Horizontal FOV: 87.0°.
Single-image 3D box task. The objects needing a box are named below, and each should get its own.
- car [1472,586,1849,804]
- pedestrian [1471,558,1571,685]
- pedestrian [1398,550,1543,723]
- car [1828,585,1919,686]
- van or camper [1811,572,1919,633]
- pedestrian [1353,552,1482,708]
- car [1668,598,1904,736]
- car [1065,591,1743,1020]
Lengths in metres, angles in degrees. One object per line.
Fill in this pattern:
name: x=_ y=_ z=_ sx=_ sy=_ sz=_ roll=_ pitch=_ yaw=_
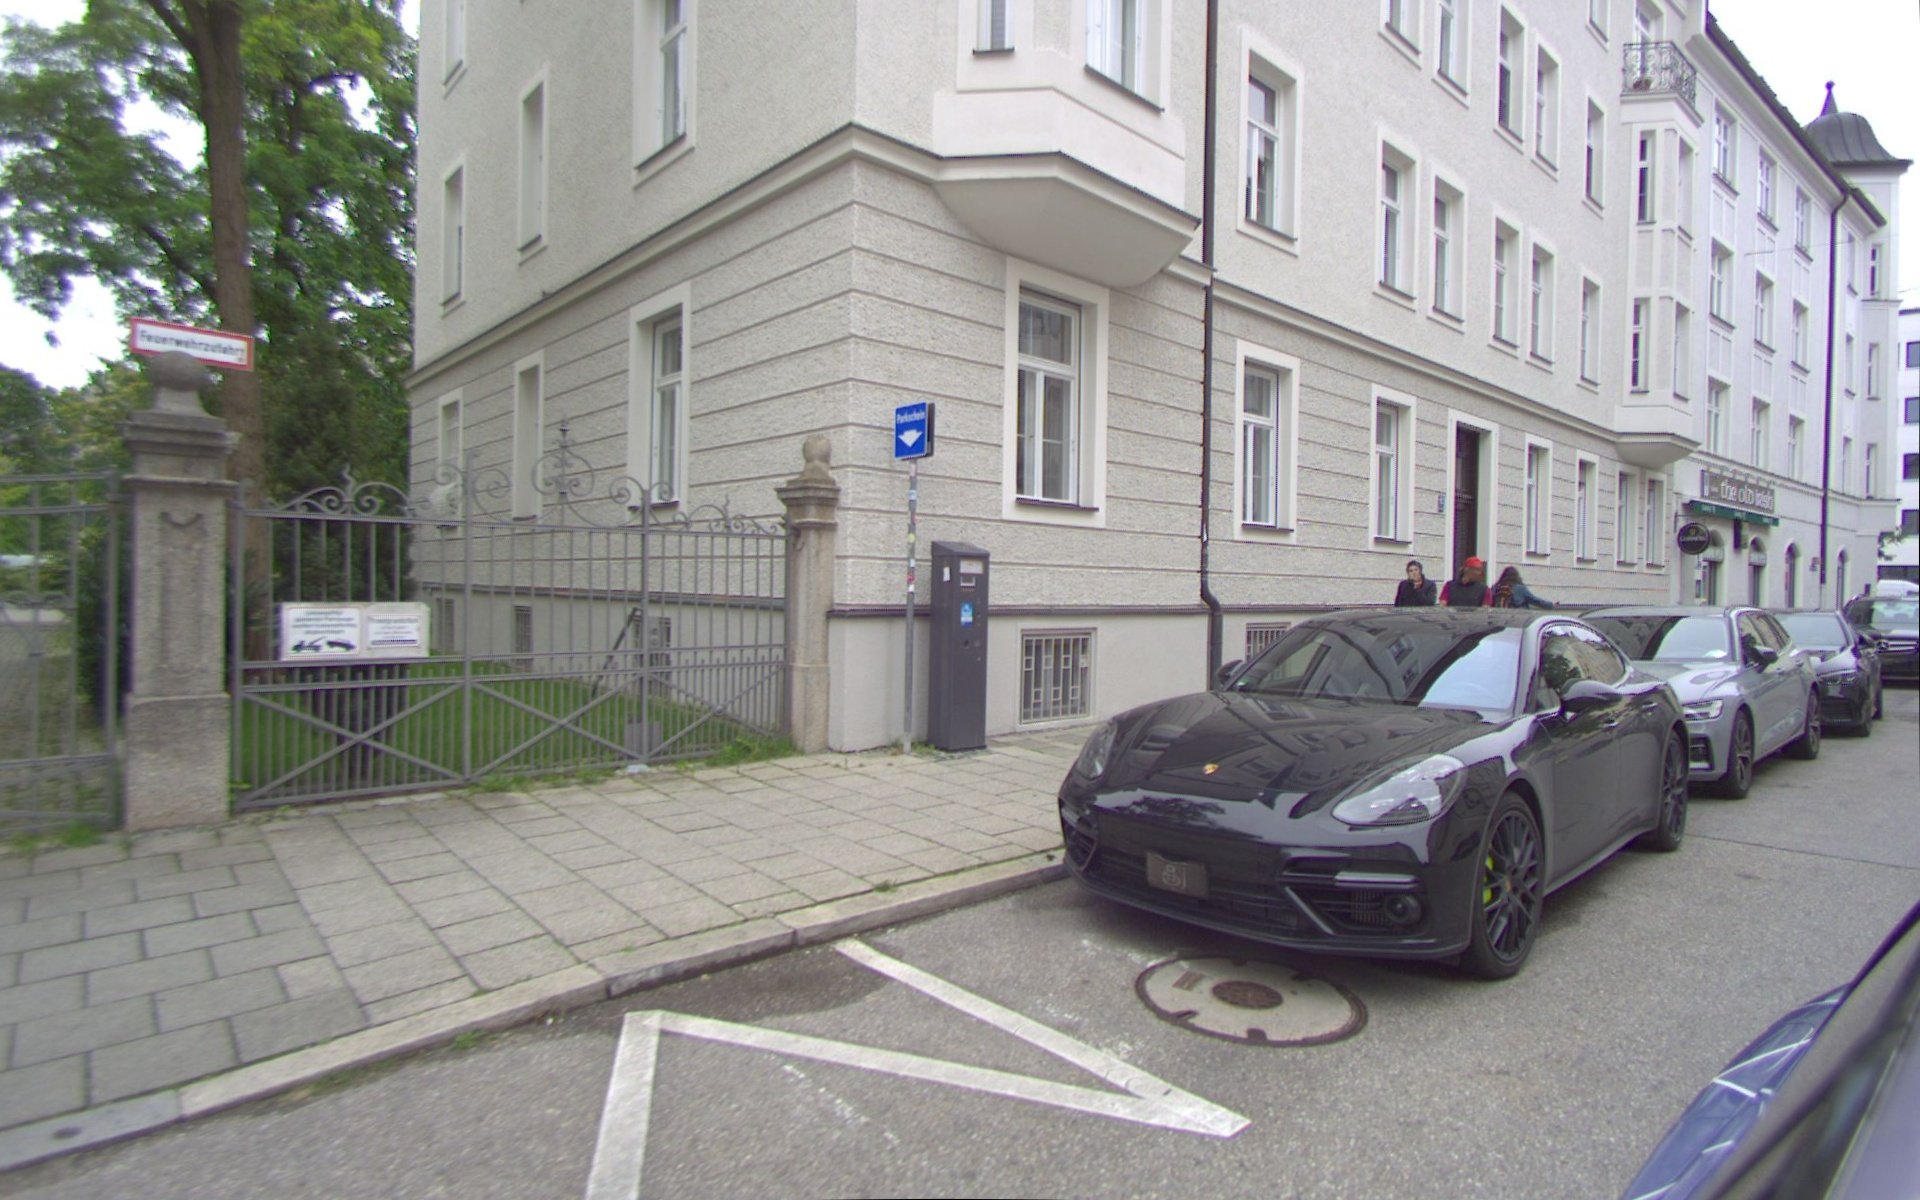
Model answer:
car: x=6.441 y=0.693 z=9.106 sx=4.343 sy=1.505 sz=1.763 roll=1 pitch=-2 yaw=-41
pedestrian: x=8.683 y=0.303 z=15.668 sx=1.091 sy=1.835 sz=0.885 roll=1 pitch=5 yaw=-40
pedestrian: x=5.745 y=0.385 z=11.419 sx=1.088 sy=1.834 sz=0.888 roll=1 pitch=2 yaw=-25
car: x=17.547 y=0.611 z=18.663 sx=4.117 sy=1.696 sz=1.802 roll=0 pitch=-1 yaw=-42
van or camper: x=44.356 y=0.132 z=48.151 sx=5.850 sy=2.749 sz=2.268 roll=2 pitch=-2 yaw=43
pedestrian: x=5.641 y=0.343 z=12.494 sx=1.088 sy=1.808 sz=0.888 roll=1 pitch=2 yaw=-27
car: x=10.574 y=0.713 z=12.803 sx=1.837 sy=1.417 sz=4.893 roll=-1 pitch=-1 yaw=45
car: x=2.885 y=0.719 z=5.911 sx=4.634 sy=1.476 sz=1.996 roll=0 pitch=1 yaw=-44
